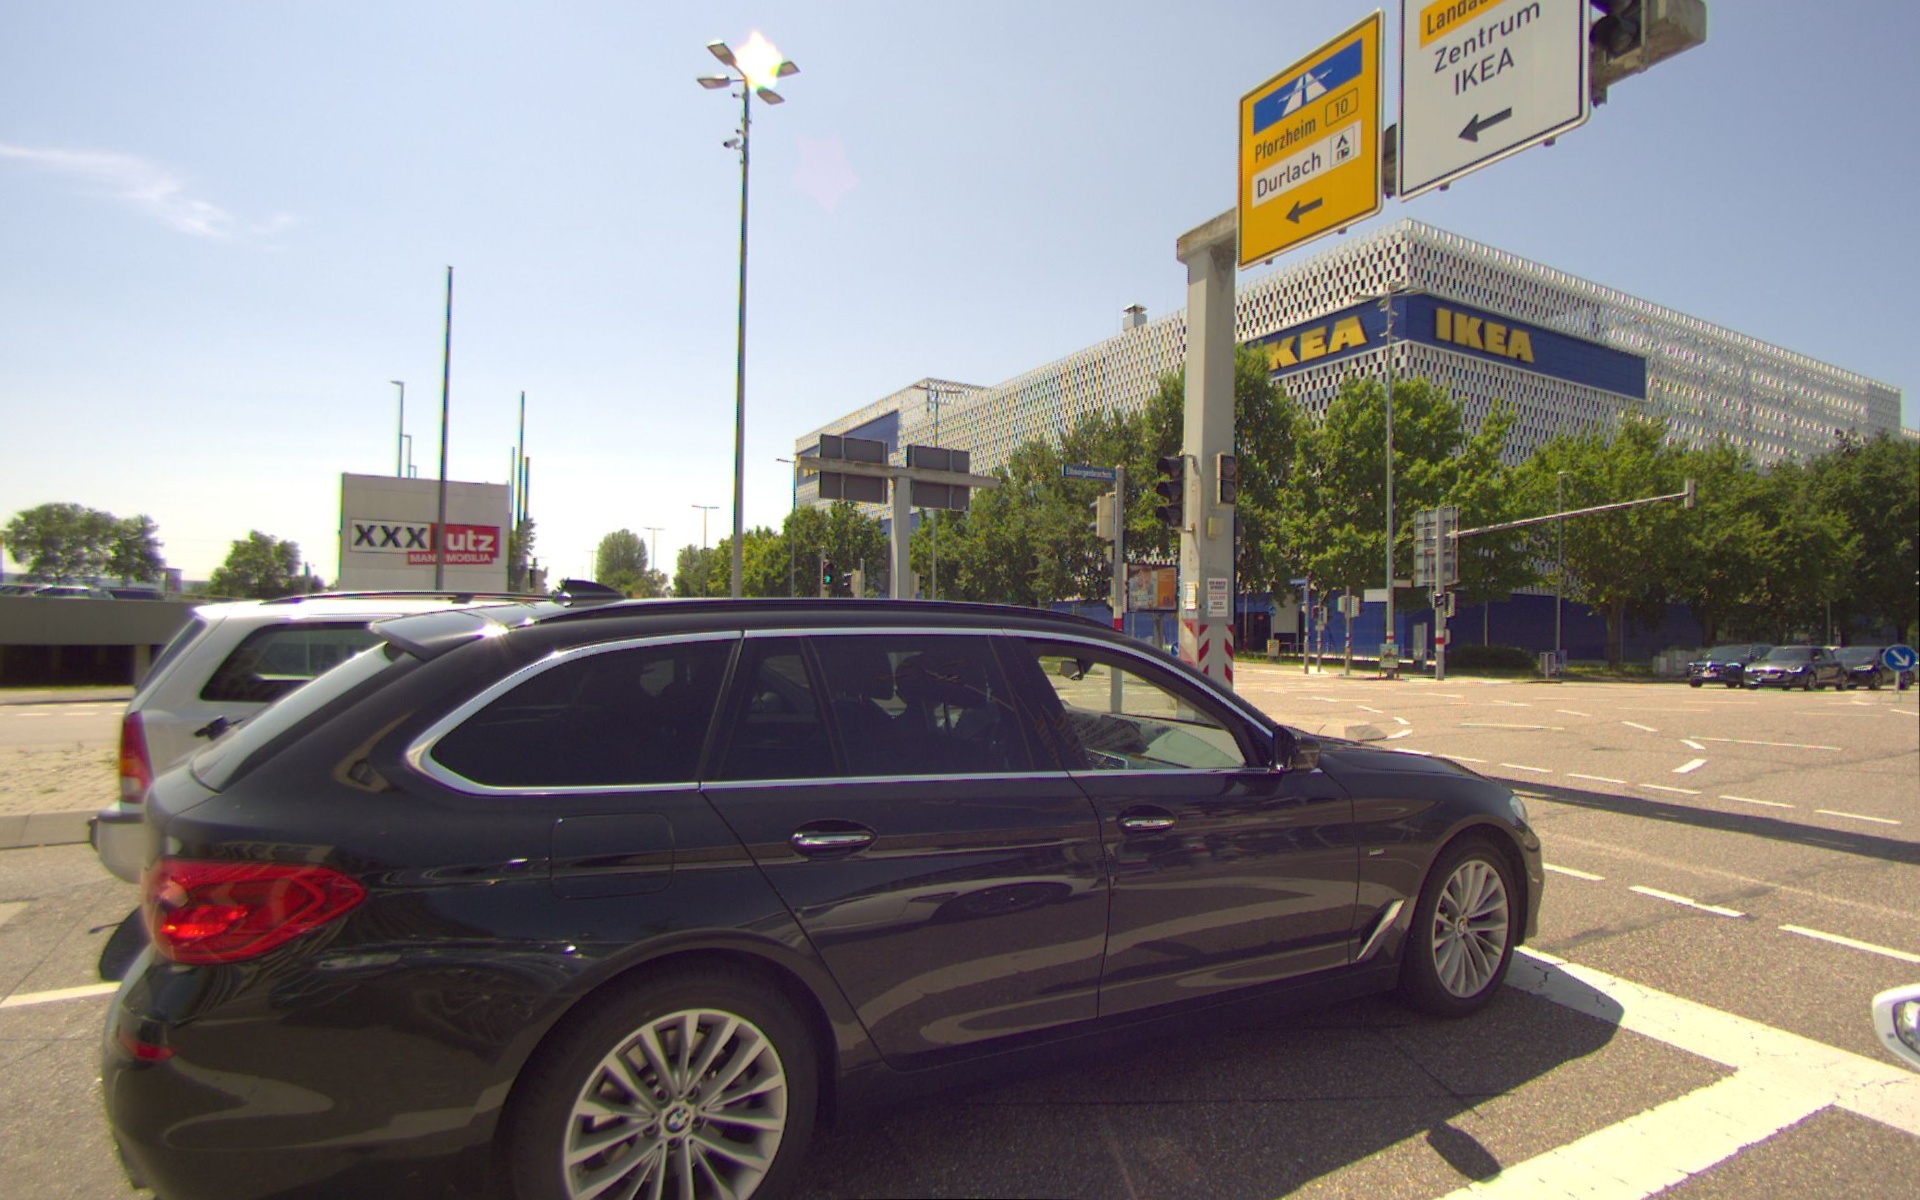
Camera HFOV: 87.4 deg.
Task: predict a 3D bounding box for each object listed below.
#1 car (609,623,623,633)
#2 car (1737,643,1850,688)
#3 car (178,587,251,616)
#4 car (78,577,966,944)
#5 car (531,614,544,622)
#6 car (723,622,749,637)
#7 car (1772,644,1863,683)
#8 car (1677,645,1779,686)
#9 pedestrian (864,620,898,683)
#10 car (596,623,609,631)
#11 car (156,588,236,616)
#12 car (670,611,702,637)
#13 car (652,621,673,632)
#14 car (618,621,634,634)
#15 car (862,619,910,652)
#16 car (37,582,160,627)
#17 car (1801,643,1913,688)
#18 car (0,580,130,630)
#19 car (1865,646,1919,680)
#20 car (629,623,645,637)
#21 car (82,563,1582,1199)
[{"bbox_3d":[-55.361,4.525,161.730,1.608,1.629,3.471,2,-2,-29],"label":"car"},{"bbox_3d":[27.247,2.161,32.829,3.671,1.407,1.637,3,-4,-30],"label":"car"},{"bbox_3d":[-57.617,0.118,77.714,4.278,2.040,1.985,2,-2,-30],"label":"car"},{"bbox_3d":[-2.104,0.658,5.637,3.959,1.441,1.685,1,0,-29],"label":"car"},{"bbox_3d":[-76.742,3.292,182.567,1.836,1.528,3.971,2,-2,-28],"label":"car"},{"bbox_3d":[-27.037,3.501,120.942,2.031,1.769,3.860,2,-2,-29],"label":"car"},{"bbox_3d":[35.645,2.645,41.735,3.870,1.564,1.718,3,-3,-31],"label":"car"},{"bbox_3d":[28.603,2.439,37.407,3.992,1.442,1.653,3,-3,-31],"label":"car"},{"bbox_3d":[-2.336,1.516,29.686,0.816,1.807,0.601,2,-2,-27],"label":"pedestrian"},{"bbox_3d":[-60.683,4.533,170.437,1.608,1.368,3.472,2,-2,-29],"label":"car"},{"bbox_3d":[-52.323,0.147,68.912,4.086,1.764,1.770,2,-2,-30],"label":"car"},{"bbox_3d":[-24.666,2.151,90.191,1.973,2.212,5.019,1,-2,-25],"label":"car"},{"bbox_3d":[-42.815,3.804,144.508,1.976,1.572,3.970,2,-2,-29],"label":"car"},{"bbox_3d":[-49.521,4.105,149.081,1.609,1.938,3.471,2,-2,-30],"label":"car"},{"bbox_3d":[-4.672,2.213,63.058,1.750,2.040,3.813,1,-2,-26],"label":"car"},{"bbox_3d":[-42.043,0.253,49.168,4.285,2.040,1.981,2,-2,-34],"label":"car"},{"bbox_3d":[32.345,2.370,36.206,4.193,1.524,1.719,3,-4,-30],"label":"car"},{"bbox_3d":[-39.555,0.280,44.271,4.284,2.040,1.982,2,-2,-34],"label":"car"},{"bbox_3d":[43.346,2.900,46.065,3.870,1.505,1.642,3,-3,-31],"label":"car"},{"bbox_3d":[-46.057,4.277,143.102,1.607,1.835,3.474,1,-2,-27],"label":"car"},{"bbox_3d":[0.076,0.740,3.550,4.505,1.459,1.788,2,-1,-31],"label":"car"}]
